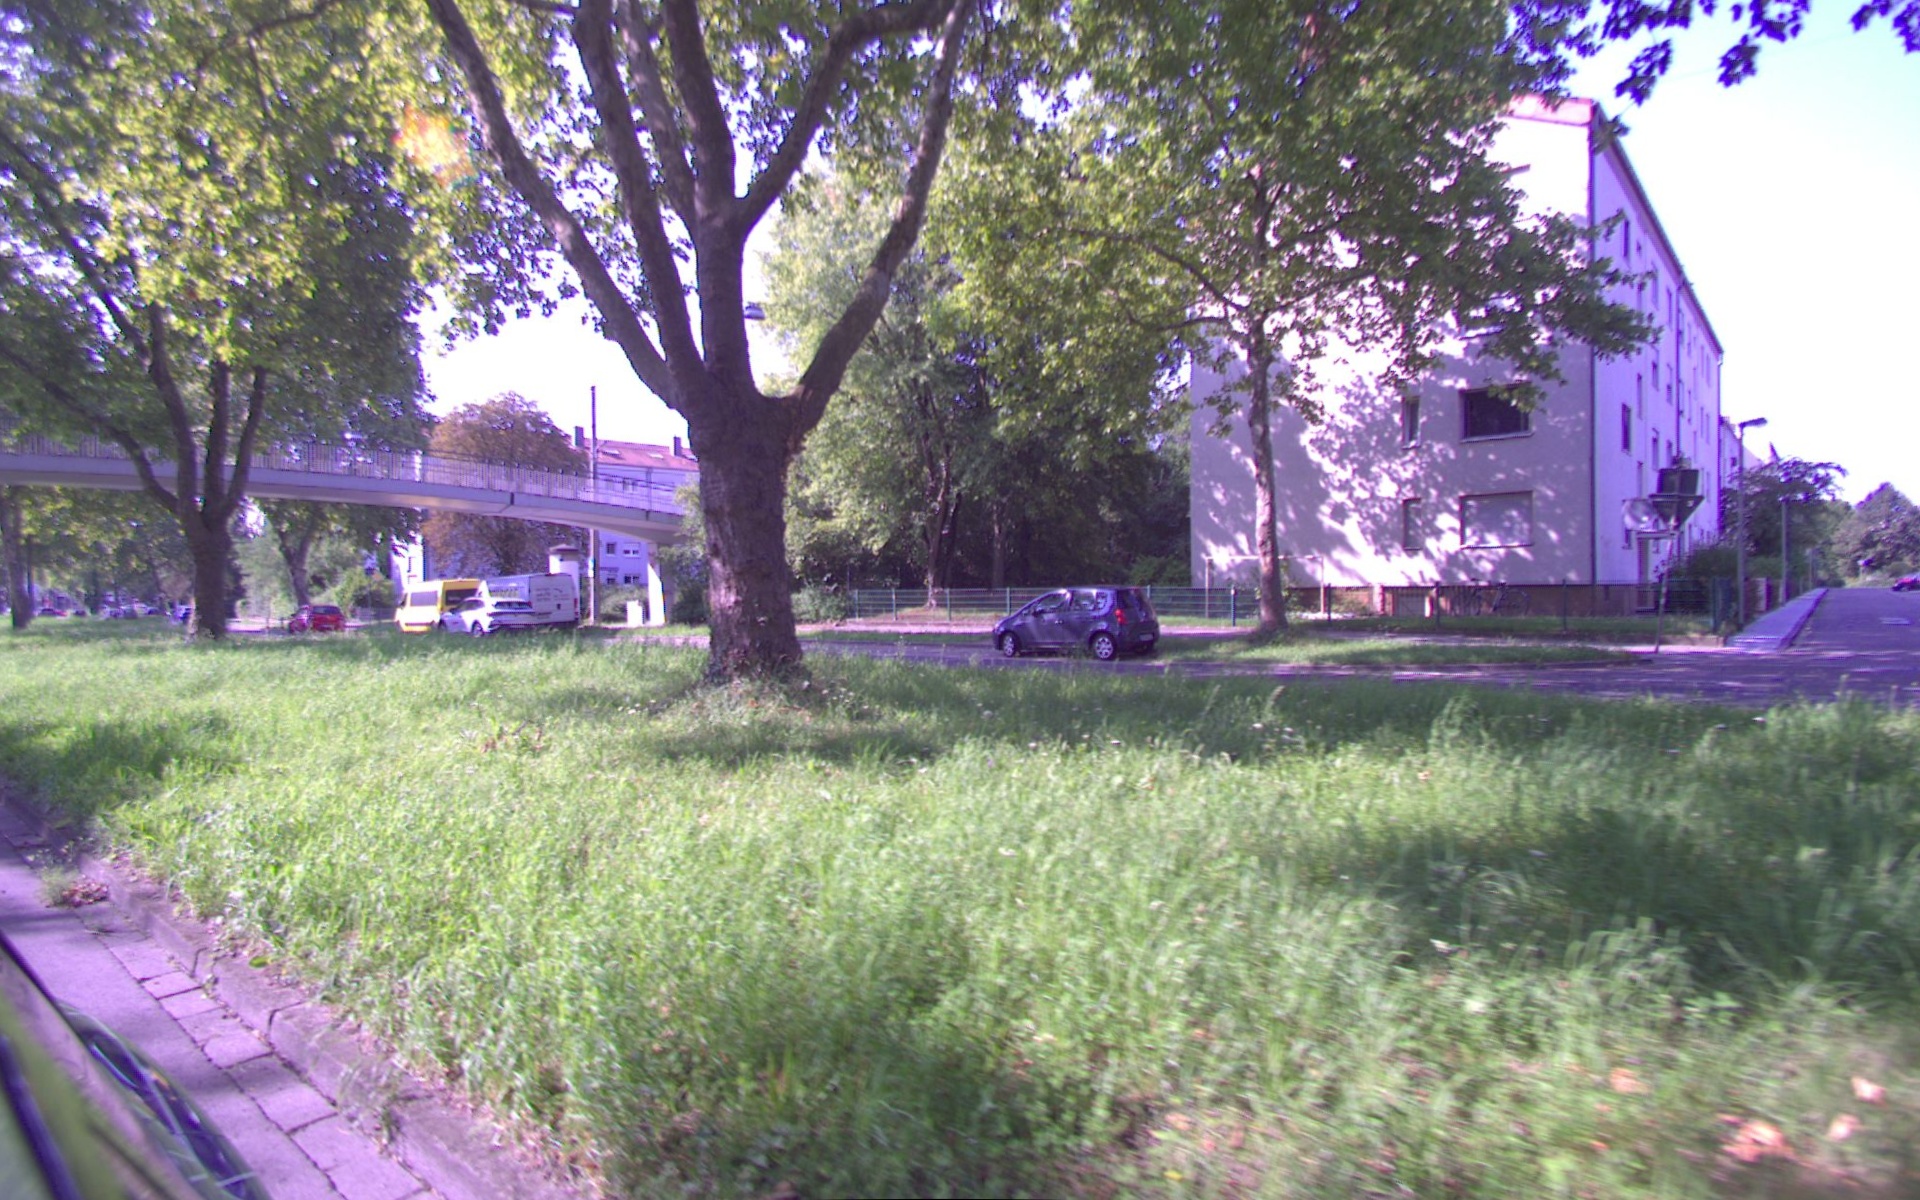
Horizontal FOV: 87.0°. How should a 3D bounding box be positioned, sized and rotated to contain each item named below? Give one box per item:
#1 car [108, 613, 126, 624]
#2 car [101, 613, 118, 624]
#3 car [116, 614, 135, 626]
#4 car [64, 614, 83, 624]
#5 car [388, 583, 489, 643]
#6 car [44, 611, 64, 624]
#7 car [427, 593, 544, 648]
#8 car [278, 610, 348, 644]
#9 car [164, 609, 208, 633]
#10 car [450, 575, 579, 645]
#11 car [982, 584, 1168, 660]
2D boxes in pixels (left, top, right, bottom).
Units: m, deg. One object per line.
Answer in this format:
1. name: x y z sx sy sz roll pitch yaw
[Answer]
1. car: -108.810 2.370 130.607 1.590 1.301 3.526 -2 1 -43
2. car: -112.698 2.407 134.074 1.590 1.417 3.526 -1 0 -43
3. car: -100.930 2.422 122.388 1.590 1.301 3.526 -2 1 -43
4. car: -124.614 2.635 142.242 3.899 1.374 1.627 -1 0 43
5. car: -23.405 0.540 45.293 6.063 2.498 2.183 0 1 44
6. car: -127.588 2.461 142.441 4.858 1.628 1.755 0 1 44
7. car: -16.027 0.665 34.069 4.717 1.733 1.783 -1 0 41
8. car: -30.955 1.256 48.391 4.066 1.544 1.674 -1 0 40
9. car: -53.936 1.467 70.490 4.456 1.544 1.768 0 1 44
10. car: -17.616 0.356 39.848 6.264 2.448 2.185 0 3 42
11. car: 2.452 0.436 22.152 3.860 1.544 1.507 0 0 40
